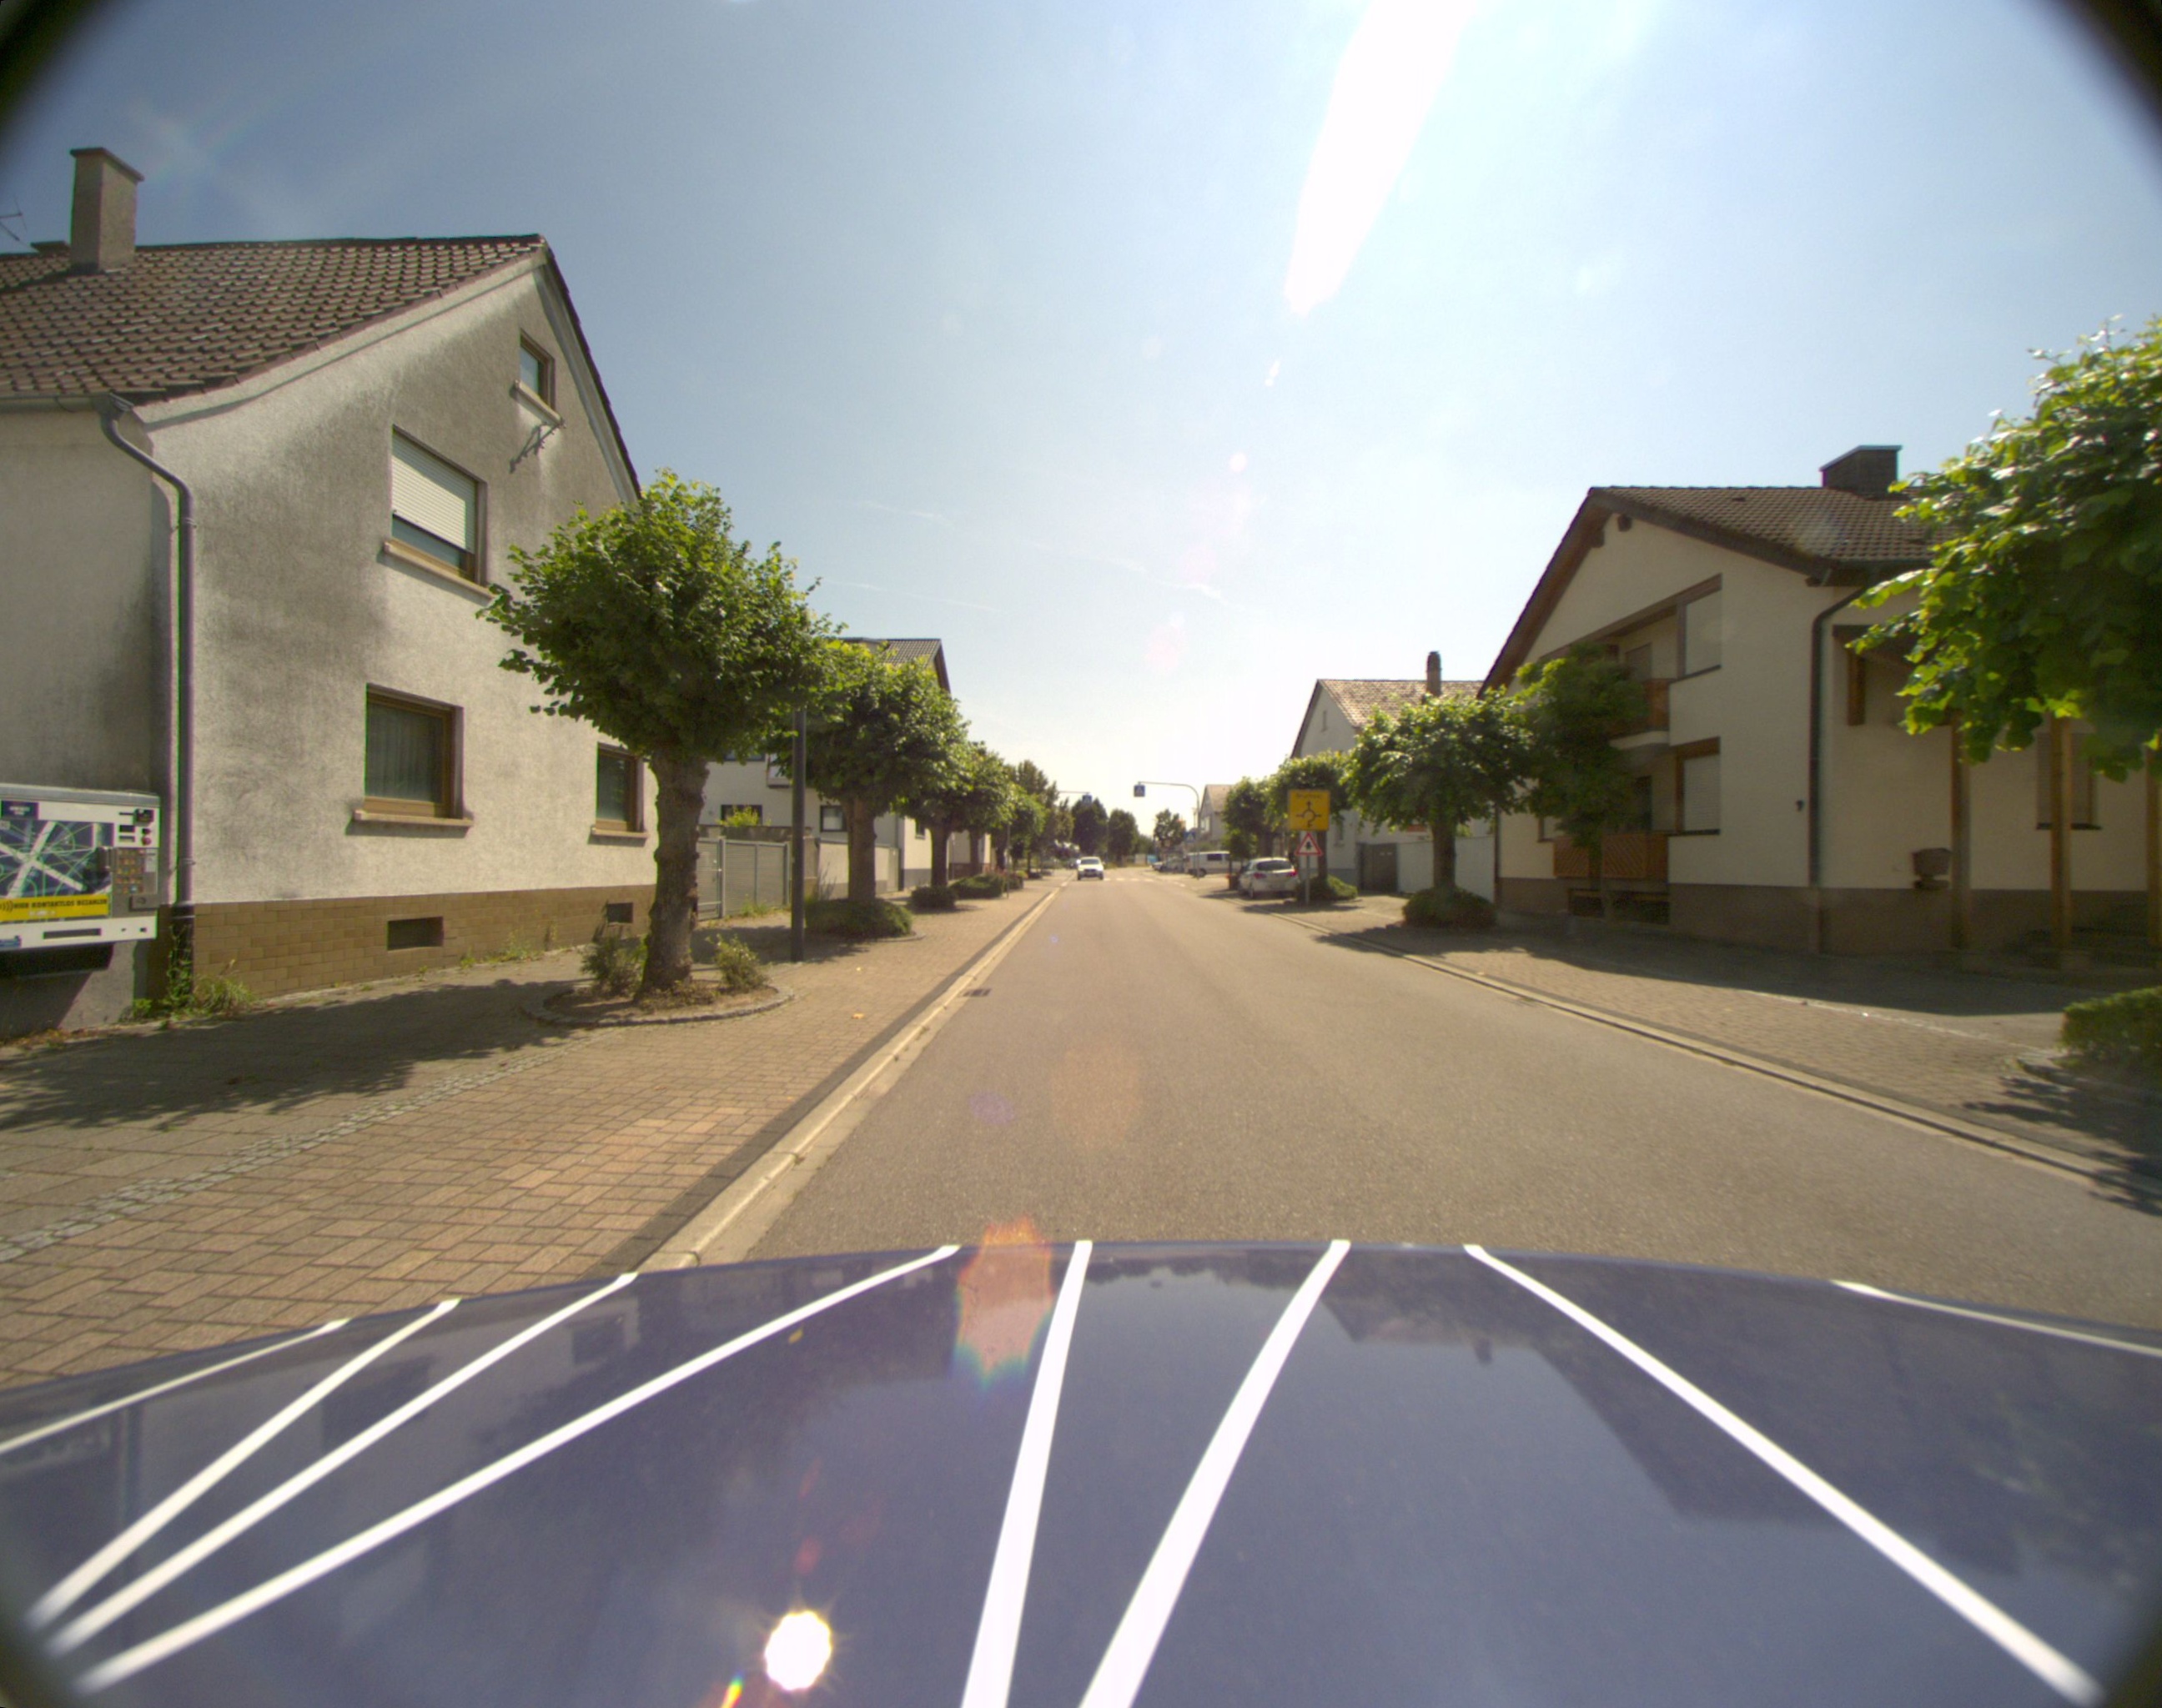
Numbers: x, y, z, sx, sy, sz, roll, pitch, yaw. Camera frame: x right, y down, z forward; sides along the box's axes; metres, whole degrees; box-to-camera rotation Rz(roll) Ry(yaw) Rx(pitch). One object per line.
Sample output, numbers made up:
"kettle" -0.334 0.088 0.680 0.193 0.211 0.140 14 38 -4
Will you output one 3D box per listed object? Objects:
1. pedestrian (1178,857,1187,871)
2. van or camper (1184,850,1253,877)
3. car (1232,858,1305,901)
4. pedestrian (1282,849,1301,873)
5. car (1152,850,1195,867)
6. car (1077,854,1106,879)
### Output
"pedestrian" 9.840 0.928 73.916 0.787 1.350 0.607 0 0 1
"van or camper" 10.232 0.686 56.867 4.752 1.851 2.000 -1 -1 0
"car" 7.097 0.928 29.149 1.829 1.474 4.132 -2 0 1
"pedestrian" 15.785 0.511 57.052 1.072 1.764 0.932 0 0 -36
"car" 9.877 0.454 81.171 4.251 1.709 1.945 -2 0 -5
"car" 0.754 0.852 52.363 1.857 1.603 4.136 -2 0 3
